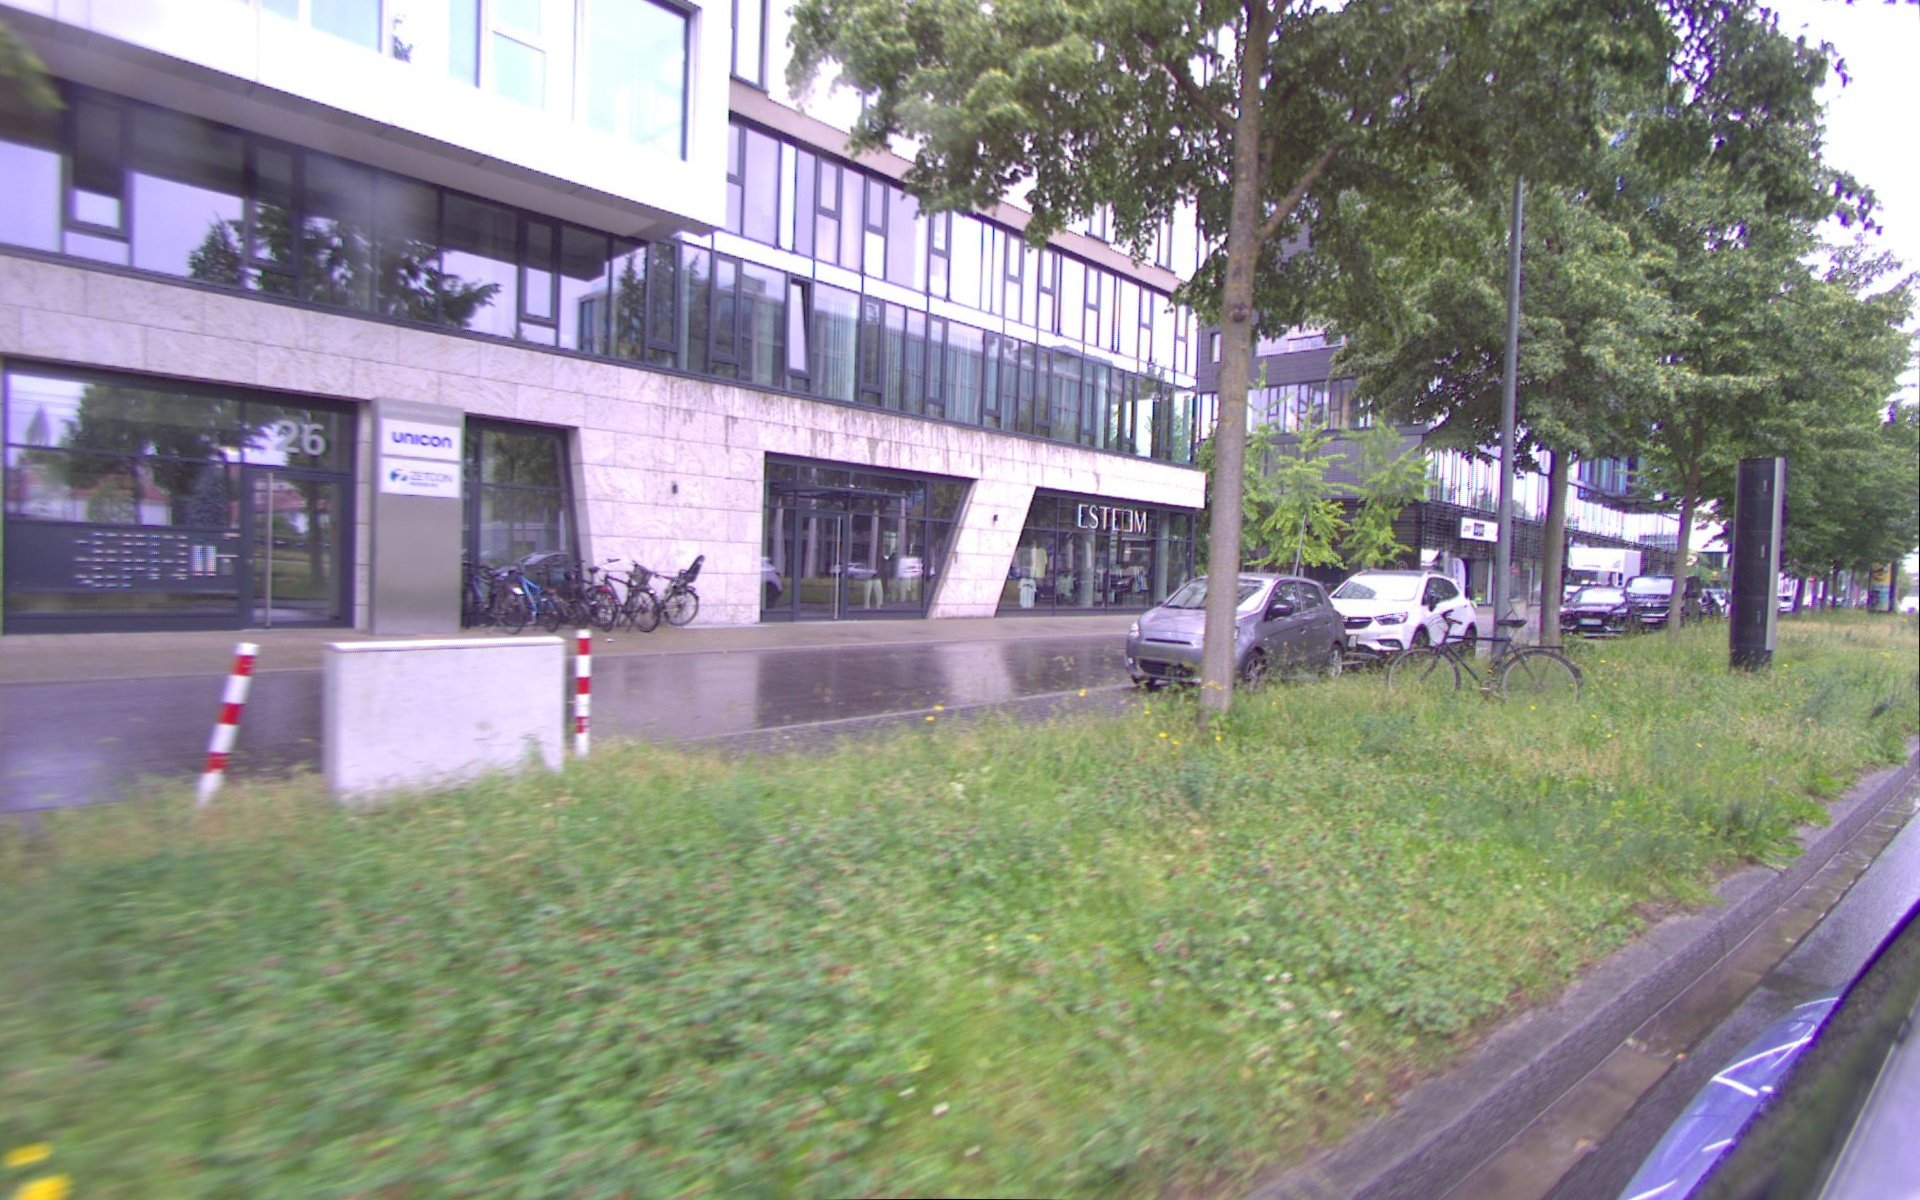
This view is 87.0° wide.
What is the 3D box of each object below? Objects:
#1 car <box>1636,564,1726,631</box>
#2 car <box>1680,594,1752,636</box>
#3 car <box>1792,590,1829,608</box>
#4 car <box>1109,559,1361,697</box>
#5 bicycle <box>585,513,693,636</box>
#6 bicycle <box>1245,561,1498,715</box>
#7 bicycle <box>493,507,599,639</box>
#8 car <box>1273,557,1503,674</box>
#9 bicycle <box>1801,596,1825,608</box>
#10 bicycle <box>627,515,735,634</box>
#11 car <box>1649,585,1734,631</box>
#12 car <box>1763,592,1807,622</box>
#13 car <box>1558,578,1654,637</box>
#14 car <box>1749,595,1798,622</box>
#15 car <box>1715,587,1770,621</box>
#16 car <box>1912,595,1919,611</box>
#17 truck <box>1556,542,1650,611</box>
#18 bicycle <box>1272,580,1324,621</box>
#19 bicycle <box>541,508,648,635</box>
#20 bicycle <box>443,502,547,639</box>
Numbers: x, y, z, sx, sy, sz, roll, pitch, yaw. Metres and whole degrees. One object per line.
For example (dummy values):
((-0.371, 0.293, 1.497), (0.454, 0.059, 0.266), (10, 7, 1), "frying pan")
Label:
((24.011, -0.051, 33.622), (1.992, 1.977, 4.954), (3, 0, 40), "car")
((32.833, 0.624, 43.897), (1.993, 1.690, 4.649), (1, 0, 43), "car")
((71.934, -0.089, 85.588), (1.994, 1.473, 4.880), (3, 2, 44), "car")
((3.662, 0.321, 13.125), (1.626, 1.509, 3.598), (3, 1, 43), "car")
((-5.368, -0.450, 16.779), (0.694, 1.883, 2.686), (1, 2, -40), "bicycle")
((3.595, 0.278, 9.011), (0.483, 1.211, 2.036), (0, 2, -45), "bicycle")
((-6.463, -0.445, 15.682), (0.694, 1.883, 2.686), (1, 2, -40), "bicycle")
((7.374, 0.280, 17.163), (1.994, 1.690, 4.647), (3, 0, 44), "car")
((67.072, 0.138, 79.568), (0.424, 0.928, 1.465), (3, 0, -13), "bicycle")
((-4.811, -0.459, 17.287), (0.694, 1.883, 2.686), (1, 2, -40), "bicycle")
((28.491, 0.327, 39.375), (1.994, 1.690, 4.878), (1, 0, 44), "car")
((50.847, 0.450, 62.350), (1.761, 1.616, 4.033), (3, 0, 44), "car")
((18.997, 0.173, 29.677), (1.953, 1.531, 4.421), (3, 2, 38), "car")
((47.123, 0.461, 58.602), (1.992, 1.462, 5.159), (3, 2, 41), "car")
((37.275, 0.234, 48.173), (1.768, 1.471, 4.651), (-2, -3, 41), "car")
((104.236, 0.389, 109.515), (1.682, 1.548, 3.907), (3, 0, 42), "car")
((35.280, -1.258, 55.337), (3.022, 3.483, 8.420), (2, 2, 41), "truck")
((9.852, 0.005, 29.462), (2.030, 1.144, 0.519), (0, 2, -44), "bicycle")
((-5.901, -0.480, 16.221), (0.694, 1.883, 2.686), (1, 2, -40), "bicycle")
((-7.030, -0.461, 15.215), (0.694, 1.883, 2.686), (1, 2, -40), "bicycle")
